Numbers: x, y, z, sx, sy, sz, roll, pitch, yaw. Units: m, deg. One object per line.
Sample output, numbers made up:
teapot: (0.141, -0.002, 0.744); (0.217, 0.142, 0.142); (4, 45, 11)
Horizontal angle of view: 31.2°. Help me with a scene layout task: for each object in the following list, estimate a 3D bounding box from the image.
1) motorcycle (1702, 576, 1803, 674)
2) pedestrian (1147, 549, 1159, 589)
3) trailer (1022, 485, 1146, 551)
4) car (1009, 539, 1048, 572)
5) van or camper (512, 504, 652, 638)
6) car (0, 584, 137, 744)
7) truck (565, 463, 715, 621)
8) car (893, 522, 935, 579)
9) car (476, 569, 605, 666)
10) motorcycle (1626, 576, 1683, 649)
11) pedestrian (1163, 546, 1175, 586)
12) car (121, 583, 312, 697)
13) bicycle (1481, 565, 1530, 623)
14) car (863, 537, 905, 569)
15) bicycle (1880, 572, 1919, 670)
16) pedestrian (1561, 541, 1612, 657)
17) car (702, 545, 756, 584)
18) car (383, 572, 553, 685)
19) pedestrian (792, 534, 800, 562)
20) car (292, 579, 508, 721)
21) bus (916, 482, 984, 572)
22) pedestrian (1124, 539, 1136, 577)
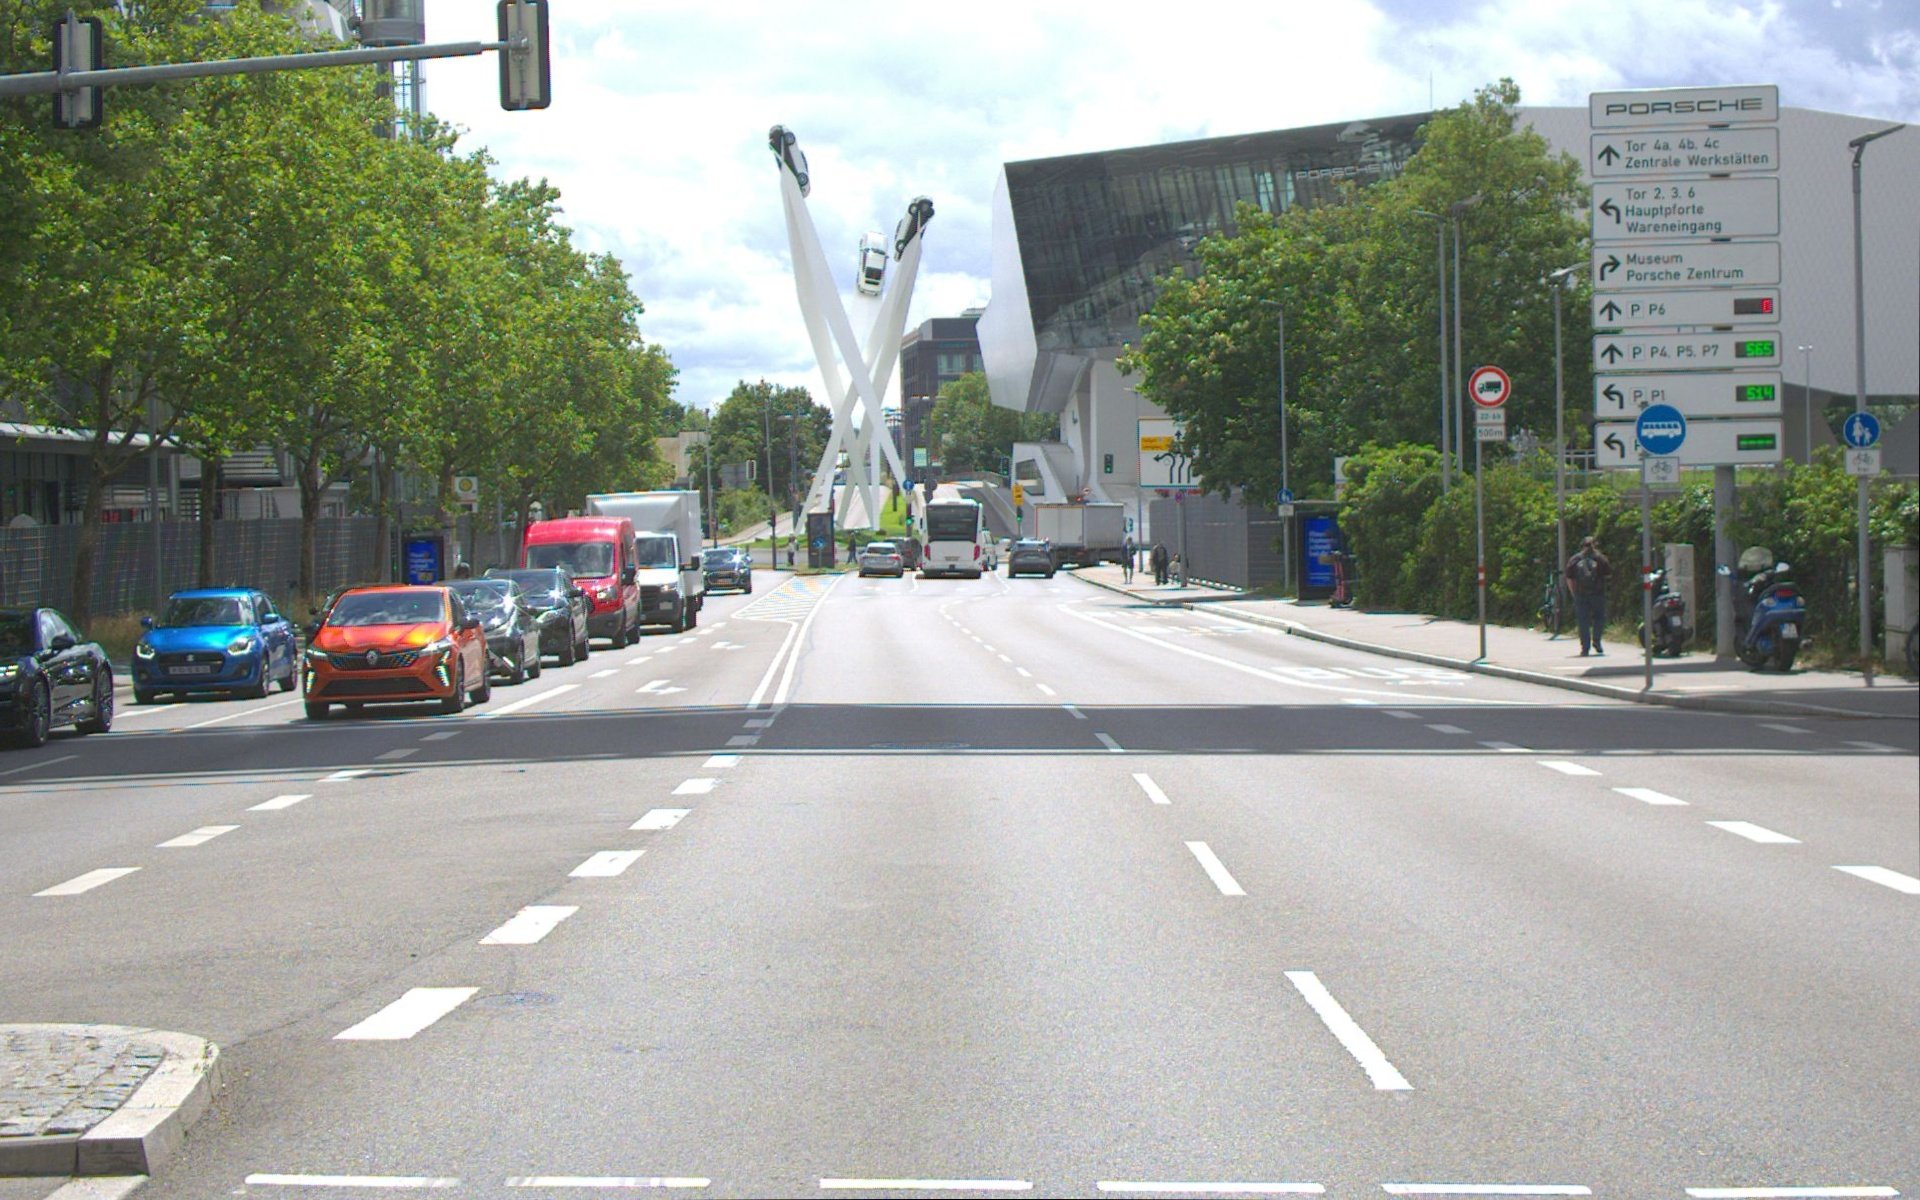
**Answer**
motorcycle: (9.622, 0.291, 41.808); (0.418, 1.162, 1.957); (1, 0, -11)
pedestrian: (6.878, -1.096, 122.696); (0.386, 1.416, 0.423); (1, 0, 0)
trailer: (6.253, -4.048, 171.349); (3.322, 2.985, 10.366); (1, 0, 19)
car: (2.879, -1.874, 144.221); (1.557, 1.269, 3.701); (-3, 1, 1)
van or camper: (-7.200, -0.577, 66.026); (2.047, 2.458, 5.594); (0, 1, 0)
car: (-10.035, 0.646, 35.340); (1.917, 1.483, 4.772); (-3, 1, 0)
truck: (-7.052, -1.233, 76.590); (2.591, 3.312, 7.079); (1, 0, 0)
car: (-2.193, -2.350, 163.889); (1.843, 2.615, 4.000); (1, 0, 1)
car: (-6.810, 0.260, 56.119); (1.557, 1.443, 3.772); (-3, 1, 0)
motorcycle: (9.848, 0.173, 48.792); (0.457, 1.019, 1.912); (1, 0, 1)
pedestrian: (7.469, -1.224, 122.691); (0.386, 1.416, 0.423); (1, 0, 0)
car: (-10.091, 0.517, 46.888); (1.727, 1.378, 3.701); (-3, 1, 0)
bicycle: (9.834, -0.108, 62.052); (0.418, 1.019, 1.913); (1, 0, -5)
car: (-3.217, -1.997, 145.671); (1.557, 1.269, 3.701); (-3, 1, 1)
bicycle: (11.242, 0.243, 37.652); (2.222, 1.083, 0.476); (1, 0, 35)
pedestrian: (8.929, -0.009, 49.032); (0.533, 1.635, 0.658); (1, 0, -6)
car: (-7.945, -1.223, 118.454); (1.557, 1.269, 3.701); (-3, 1, 0)
car: (-6.844, 0.366, 48.164); (1.769, 1.415, 3.701); (-3, 1, 0)
pedestrian: (-8.416, -2.682, 176.249); (0.386, 1.416, 0.423); (1, 0, -3)
car: (-6.292, 0.529, 38.974); (1.769, 1.415, 3.701); (-3, 1, 0)
bus: (-0.411, -3.075, 147.213); (2.787, 3.673, 6.943); (1, 0, 0)
pedestrian: (6.273, -1.542, 126.747); (0.386, 1.416, 0.423); (1, 0, 0)
